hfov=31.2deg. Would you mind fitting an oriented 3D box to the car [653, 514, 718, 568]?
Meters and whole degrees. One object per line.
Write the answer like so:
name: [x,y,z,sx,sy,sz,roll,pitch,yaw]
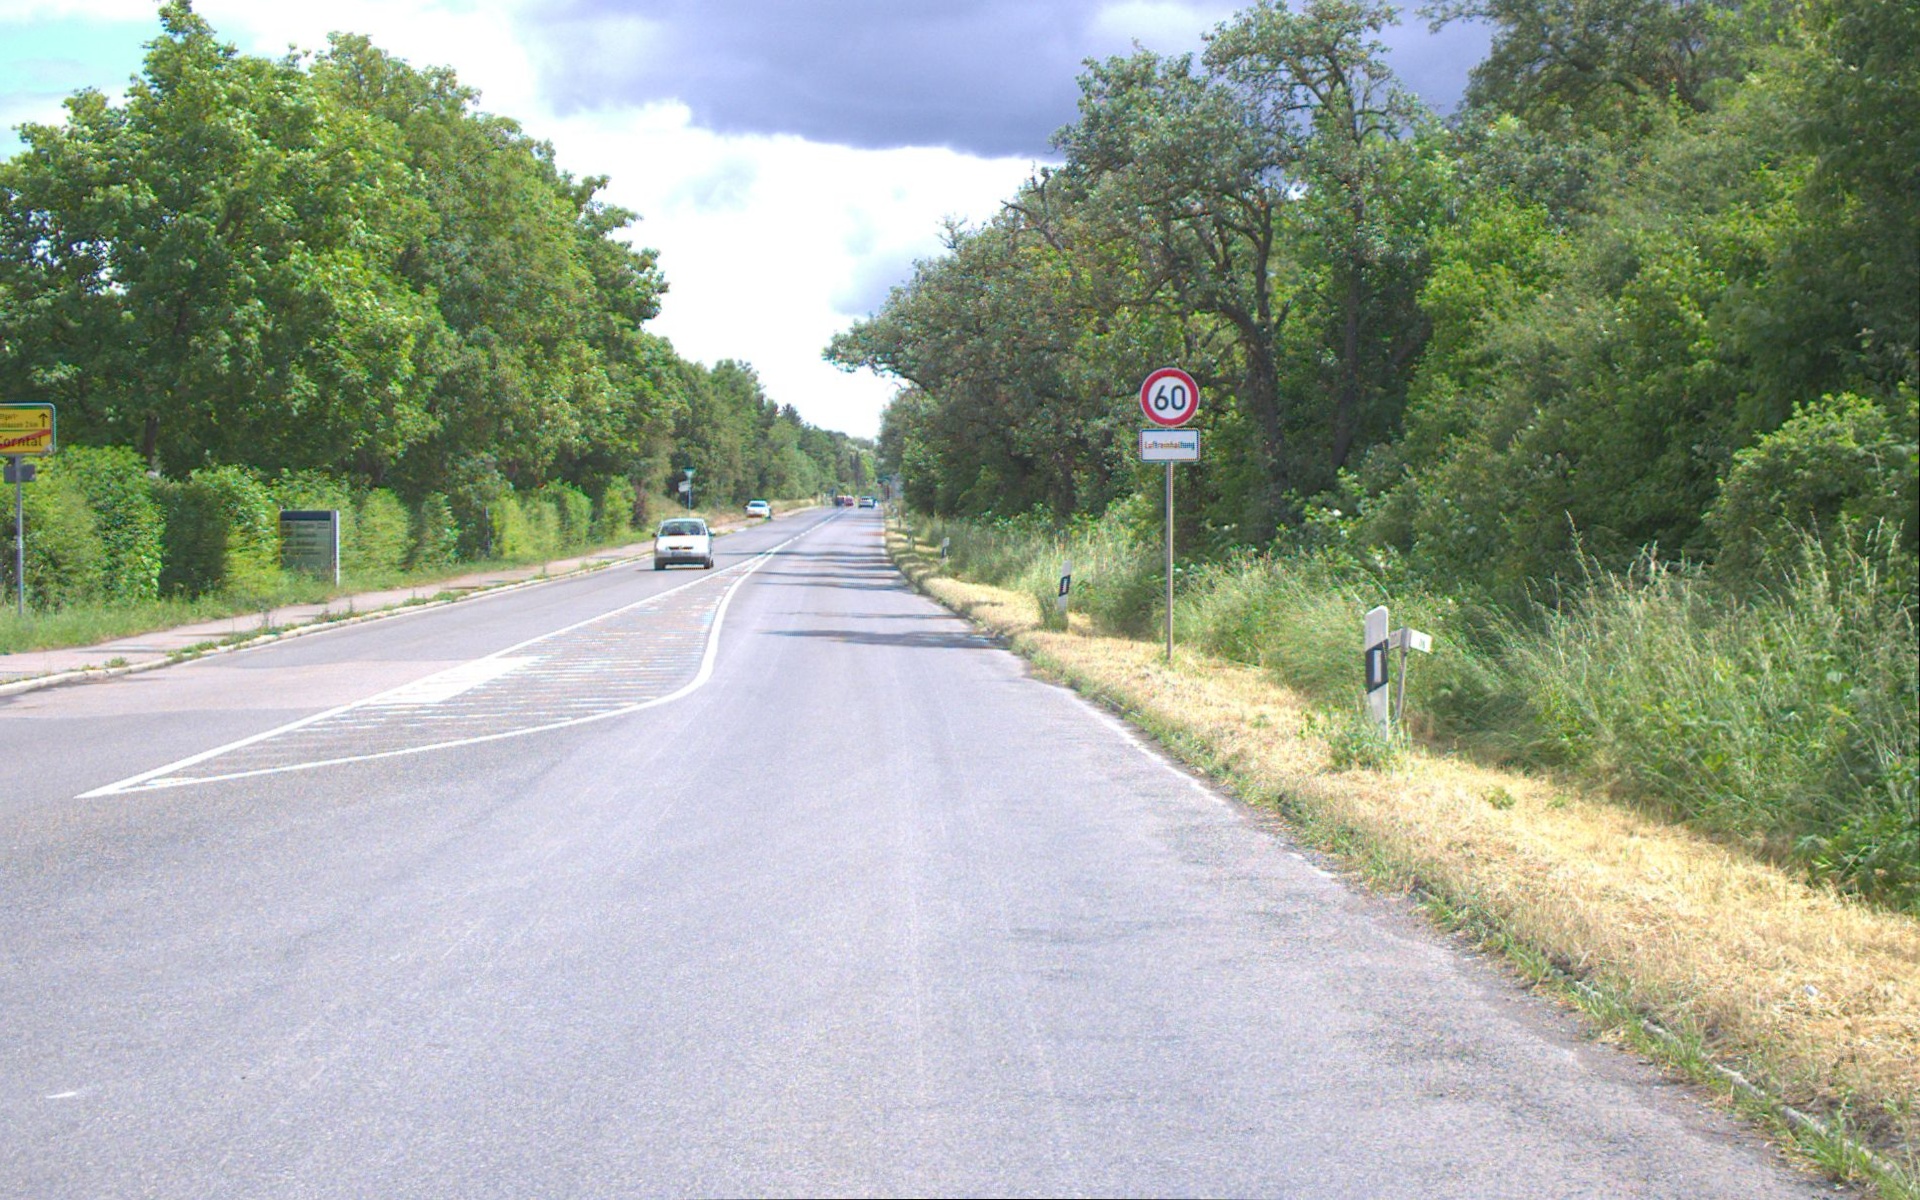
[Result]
car: [-7.774,-1.686,97.495,1.660,1.427,3.693,-1,2,-2]
